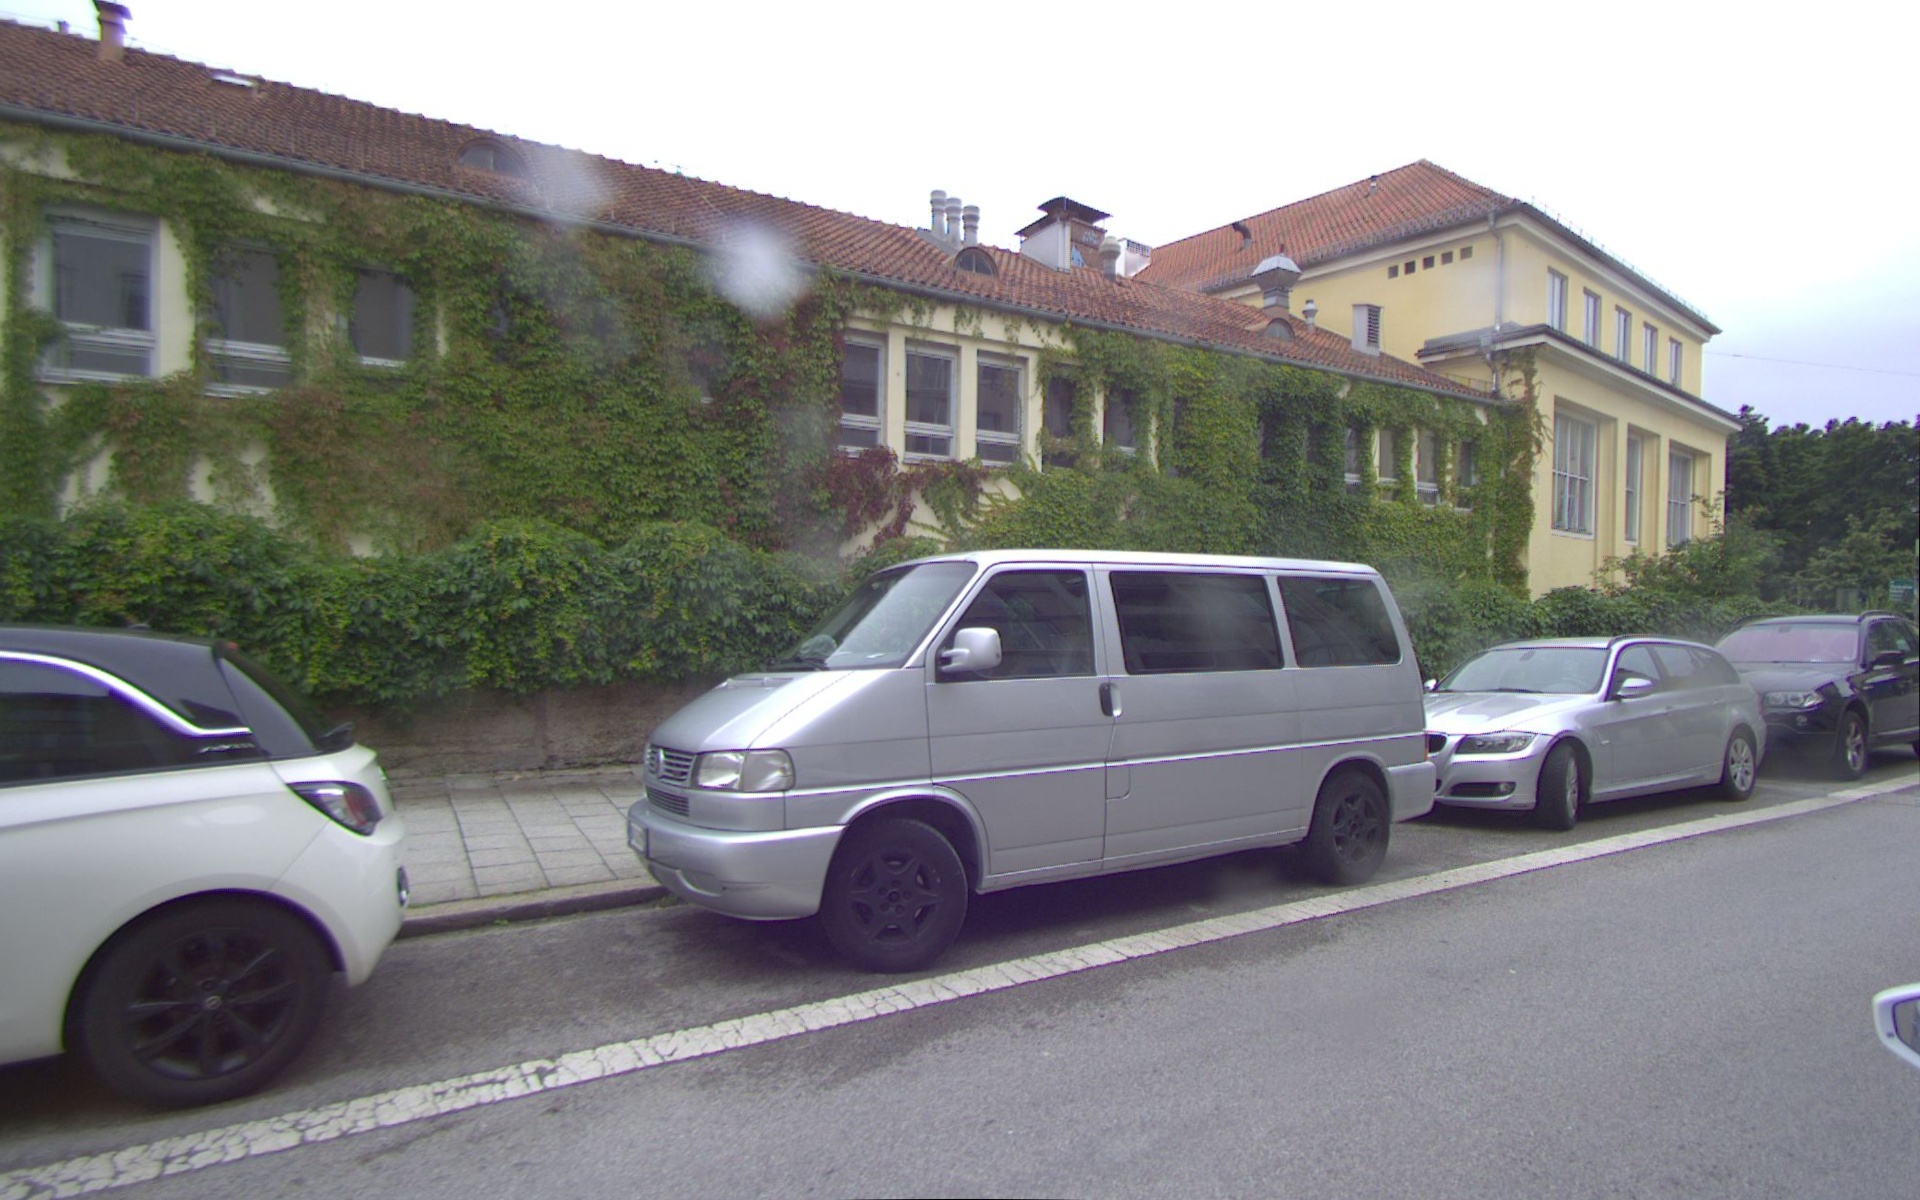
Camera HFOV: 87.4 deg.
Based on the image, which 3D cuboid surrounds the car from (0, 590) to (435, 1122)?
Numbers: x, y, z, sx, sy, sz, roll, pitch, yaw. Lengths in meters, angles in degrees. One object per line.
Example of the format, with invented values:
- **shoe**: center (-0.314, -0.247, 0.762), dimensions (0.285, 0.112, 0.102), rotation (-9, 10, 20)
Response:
- **car**: center (-3.844, 0.718, 2.944), dimensions (3.975, 1.460, 1.582), rotation (1, -2, -33)

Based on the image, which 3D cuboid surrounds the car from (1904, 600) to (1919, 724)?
- **car**: center (18.050, 1.035, 17.033), dimensions (5.299, 1.990, 2.059), rotation (2, -2, -37)

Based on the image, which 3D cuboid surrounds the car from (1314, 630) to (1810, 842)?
- **car**: center (5.357, 0.994, 8.748), dimensions (4.715, 1.433, 1.645), rotation (1, -3, -31)

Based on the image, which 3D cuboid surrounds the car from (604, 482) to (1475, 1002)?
- **car**: center (0.601, 0.594, 5.717), dimensions (4.717, 1.914, 1.879), rotation (1, -3, -30)

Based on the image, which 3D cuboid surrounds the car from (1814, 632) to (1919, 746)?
- **car**: center (13.817, 1.160, 13.989), dimensions (4.451, 1.411, 1.685), rotation (1, -2, -32)

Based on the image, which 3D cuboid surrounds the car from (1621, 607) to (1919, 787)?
- **car**: center (9.385, 0.963, 11.179), dimensions (4.440, 1.664, 1.688), rotation (1, -3, -32)

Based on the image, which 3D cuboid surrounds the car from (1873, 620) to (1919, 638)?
- **car**: center (75.555, 2.331, 80.822), dimensions (1.962, 1.390, 3.996), rotation (1, 0, 26)
